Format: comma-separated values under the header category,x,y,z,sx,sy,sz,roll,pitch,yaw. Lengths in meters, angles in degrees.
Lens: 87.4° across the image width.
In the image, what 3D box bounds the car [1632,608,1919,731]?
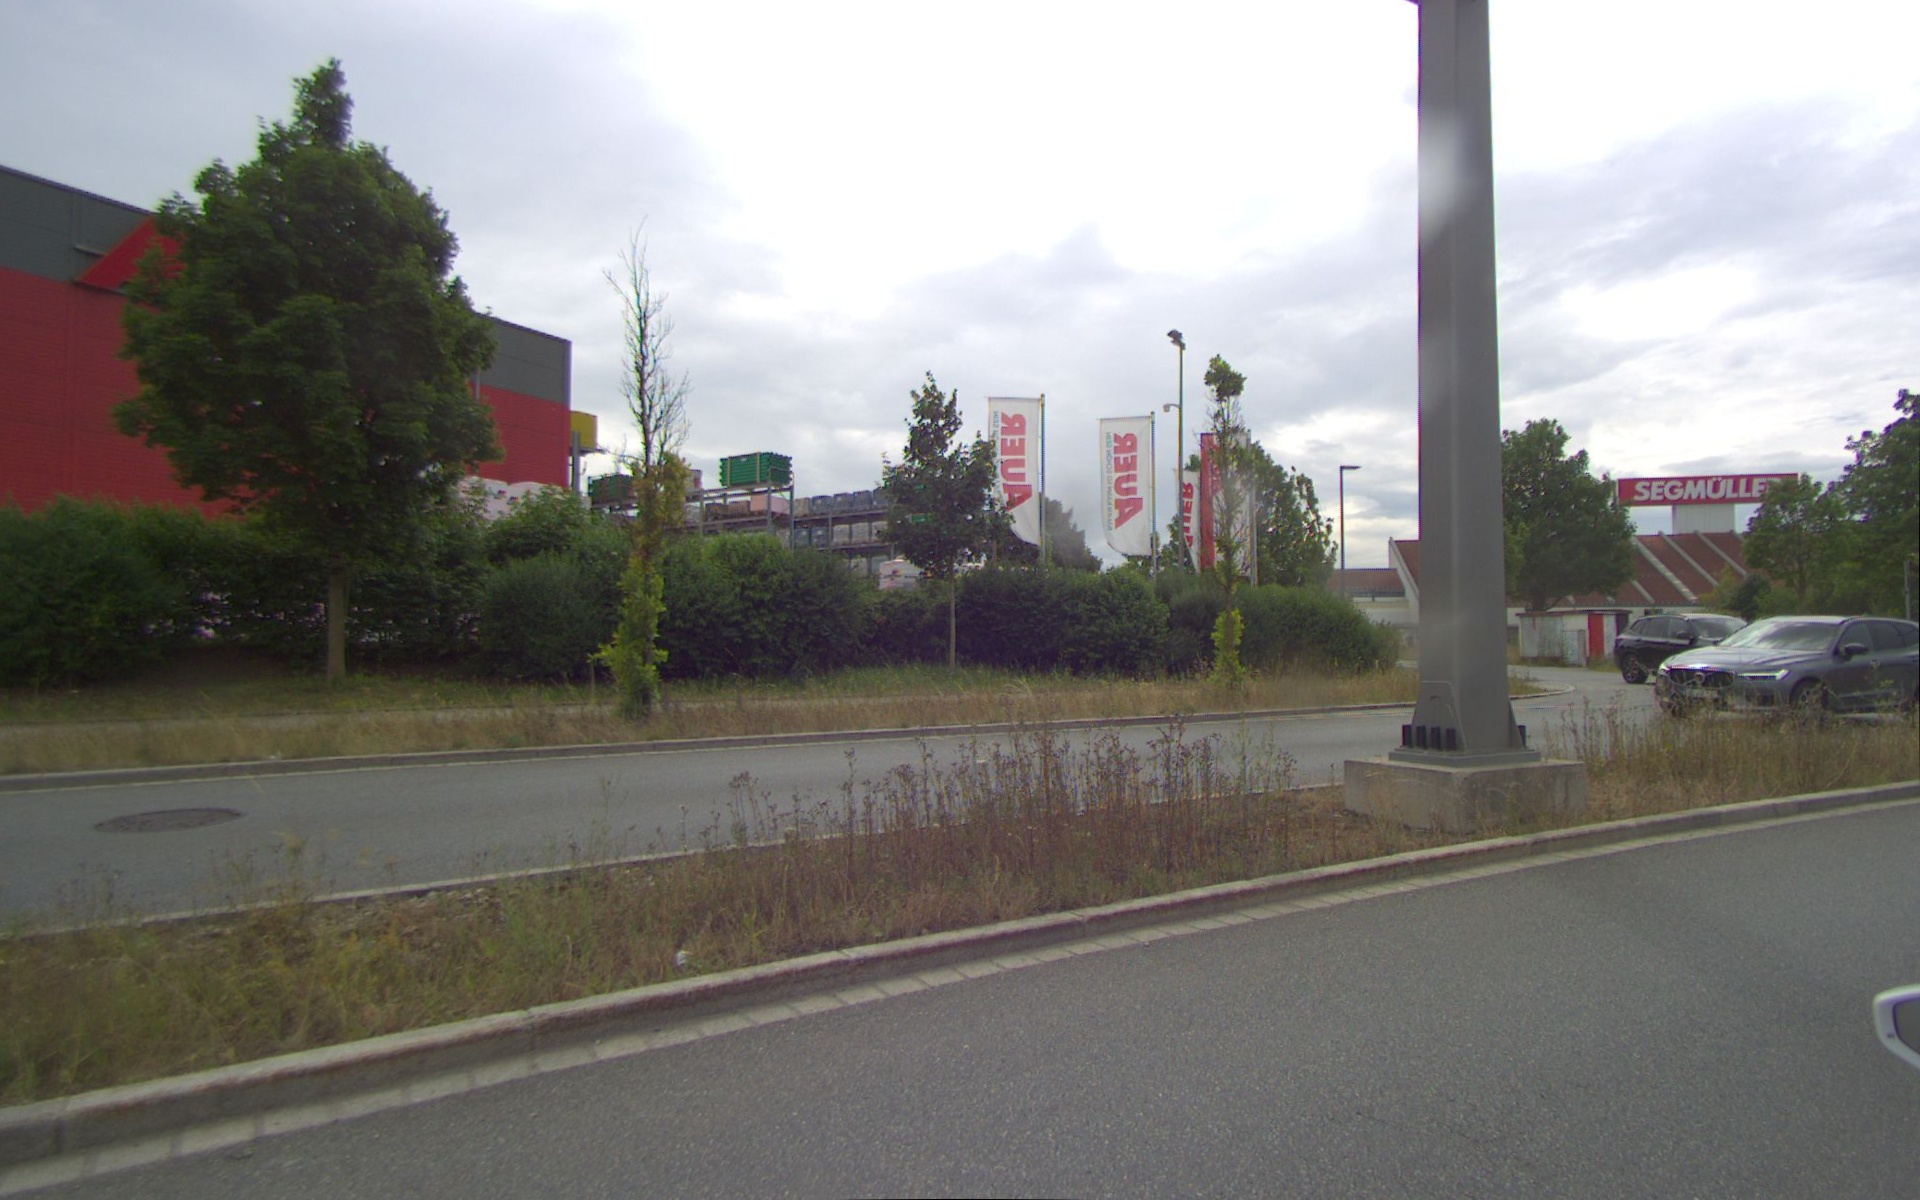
category,x,y,z,sx,sy,sz,roll,pitch,yaw
car,12.793,0.997,15.286,4.613,1.651,1.807,1,0,-19

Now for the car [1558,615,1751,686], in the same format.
category,x,y,z,sx,sy,sz,roll,pitch,yaw
car,16.885,1.197,24.721,1.836,1.570,4.256,1,-1,1
